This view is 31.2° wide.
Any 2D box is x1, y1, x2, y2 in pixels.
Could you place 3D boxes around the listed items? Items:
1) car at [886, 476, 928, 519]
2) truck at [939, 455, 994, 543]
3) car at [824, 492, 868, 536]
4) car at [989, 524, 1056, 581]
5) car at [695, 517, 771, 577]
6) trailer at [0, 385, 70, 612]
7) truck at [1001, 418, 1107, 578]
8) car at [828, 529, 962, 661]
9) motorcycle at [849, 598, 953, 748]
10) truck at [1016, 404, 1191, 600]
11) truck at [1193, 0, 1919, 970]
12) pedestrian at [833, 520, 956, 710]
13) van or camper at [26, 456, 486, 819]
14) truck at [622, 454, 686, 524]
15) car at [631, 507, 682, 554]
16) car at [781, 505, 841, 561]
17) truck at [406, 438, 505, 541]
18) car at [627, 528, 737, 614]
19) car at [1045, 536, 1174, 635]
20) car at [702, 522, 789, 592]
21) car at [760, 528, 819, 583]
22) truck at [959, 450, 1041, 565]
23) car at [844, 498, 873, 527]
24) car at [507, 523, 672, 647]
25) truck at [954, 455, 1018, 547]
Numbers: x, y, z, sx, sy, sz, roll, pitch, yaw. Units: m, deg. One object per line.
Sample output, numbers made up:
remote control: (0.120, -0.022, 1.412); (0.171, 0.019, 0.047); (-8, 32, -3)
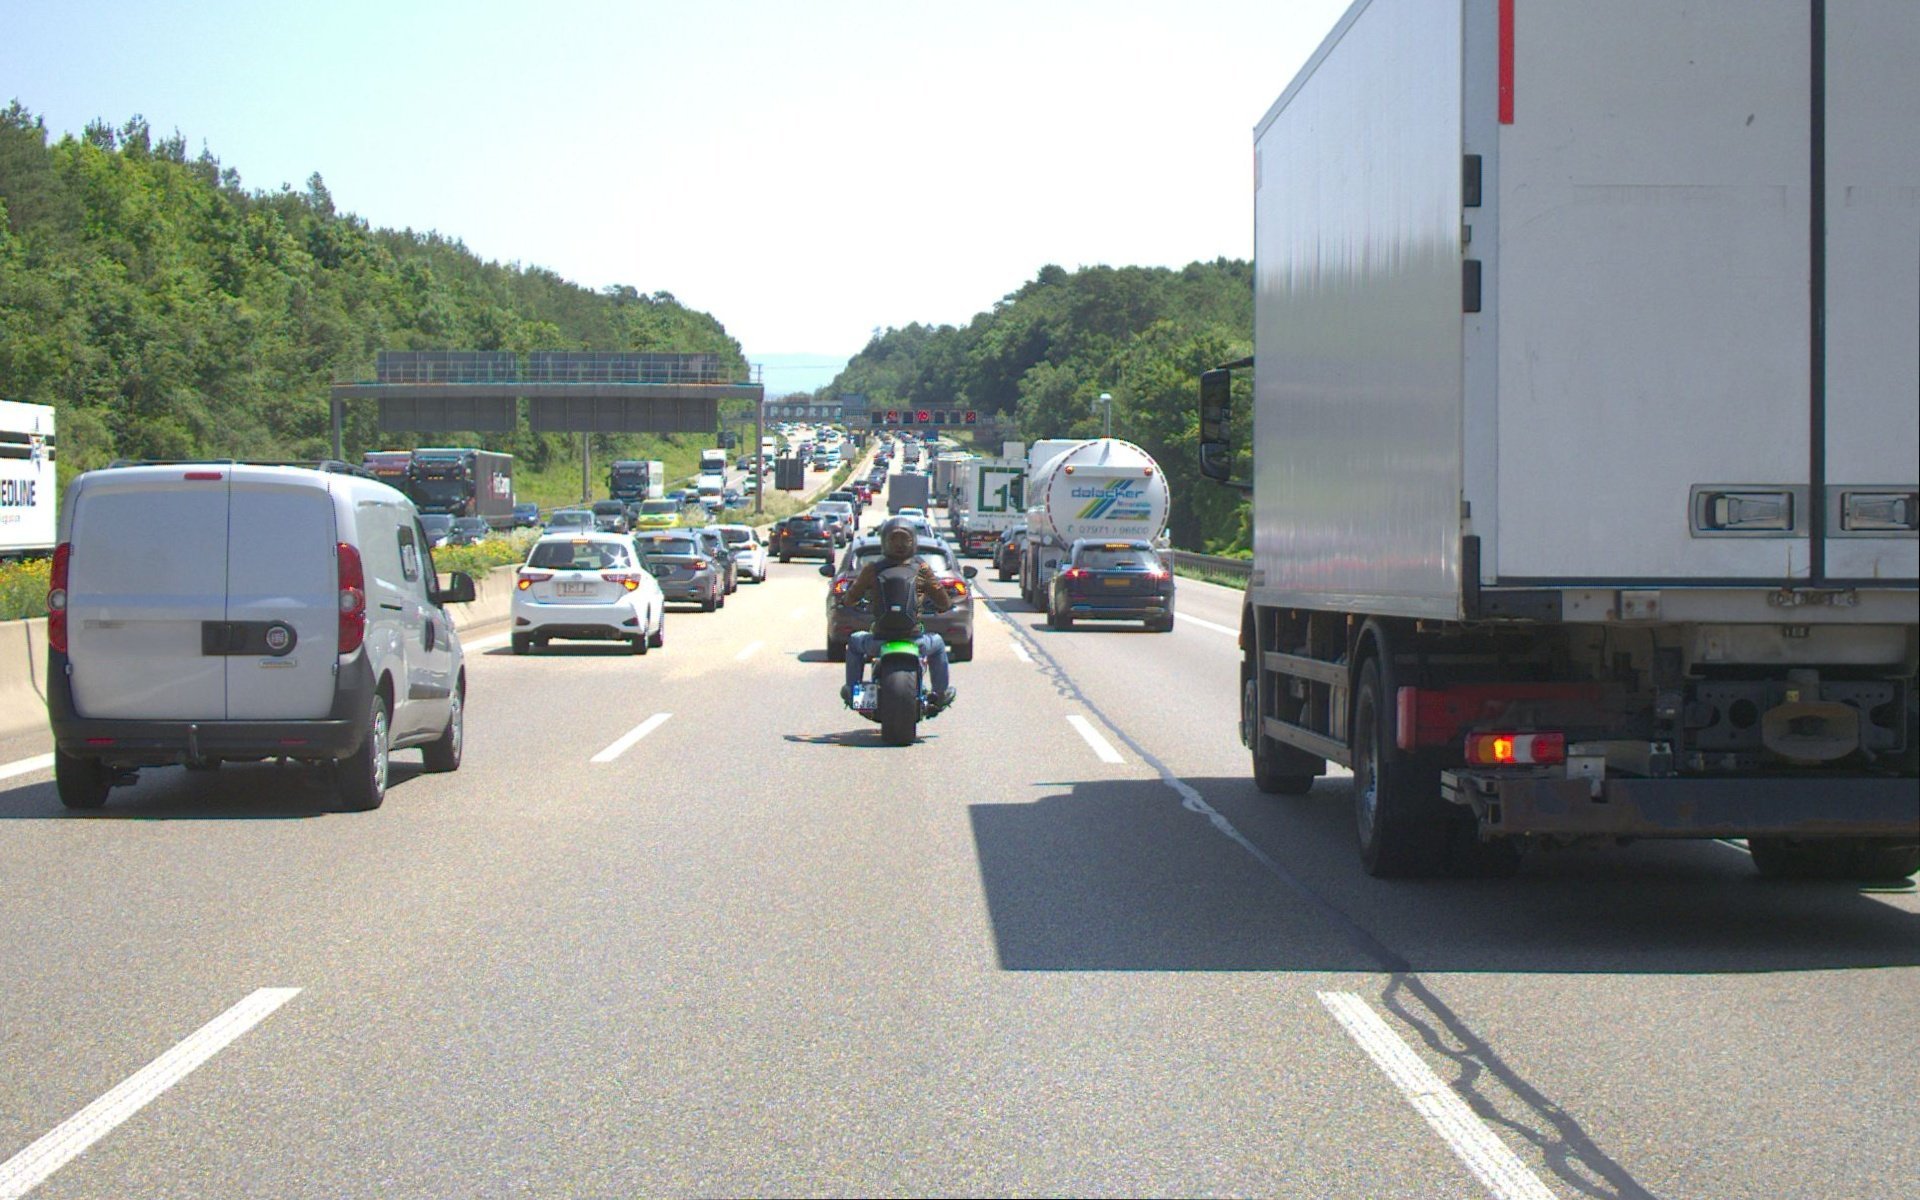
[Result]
car: (-3.232, -6.287, 211.210); (2.504, 2.578, 5.017); (0, 1, -1)
truck: (0.341, -6.073, 207.180); (3.033, 5.121, 9.983); (2, 1, -1)
car: (-5.467, -4.109, 164.980); (1.929, 2.007, 4.000); (-2, 1, 0)
car: (1.774, -1.373, 98.127); (1.787, 1.550, 3.804); (0, 1, -1)
car: (-5.764, -1.371, 87.707); (1.699, 1.473, 4.000); (0, 1, -1)
trailer: (-19.707, -1.898, 63.538); (2.803, 4.323, 14.037); (-1, 1, 0)
truck: (2.127, -2.297, 79.213); (1.993, 3.510, 4.752); (-2, 0, -3)
car: (-0.808, -0.099, 42.171); (1.532, 1.504, 4.000); (-2, 1, -1)
motorcycle: (-0.423, 0.522, 25.520); (0.691, 1.012, 2.121); (1, 1, 1)
truck: (2.814, -1.913, 70.176); (2.988, 3.659, 9.288); (-2, 1, -1)
truck: (2.974, -0.744, 17.174); (2.688, 3.863, 9.781); (-2, 1, -1)
pedestrian: (-0.475, 0.100, 25.434); (0.849, 1.357, 0.961); (-1, 1, 1)
van or camper: (-3.995, 0.179, 20.182); (1.796, 1.886, 4.160); (1, 1, 0)
truck: (-20.700, -7.483, 232.642); (3.724, 4.512, 7.327); (-2, 0, -1)
car: (-13.808, -3.135, 156.606); (1.880, 2.007, 4.468); (-3, 1, 0)
car: (-5.097, -2.303, 117.845); (1.880, 1.853, 4.000); (1, 1, 0)
truck: (-20.475, -4.434, 139.944); (2.906, 3.960, 7.769); (-2, 1, -1)
car: (-4.993, -0.551, 62.167); (1.699, 1.473, 4.000); (0, 1, -1)
car: (2.360, -0.259, 55.154); (1.828, 1.465, 4.000); (1, 1, -1)
car: (-4.688, -0.957, 75.661); (1.699, 1.473, 4.000); (0, 1, -1)
car: (-6.457, -1.689, 130.563); (1.993, 2.007, 4.000); (-2, 1, 0)
truck: (1.610, -3.830, 142.889); (3.033, 4.527, 9.983); (2, 1, -1)
car: (-7.291, -6.297, 247.853); (1.993, 2.007, 4.000); (1, 1, 0)
car: (-4.645, -0.225, 43.530); (1.699, 1.473, 4.000); (0, 1, -1)
truck: (1.312, -5.117, 178.200); (3.033, 4.527, 9.983); (2, 1, -1)
